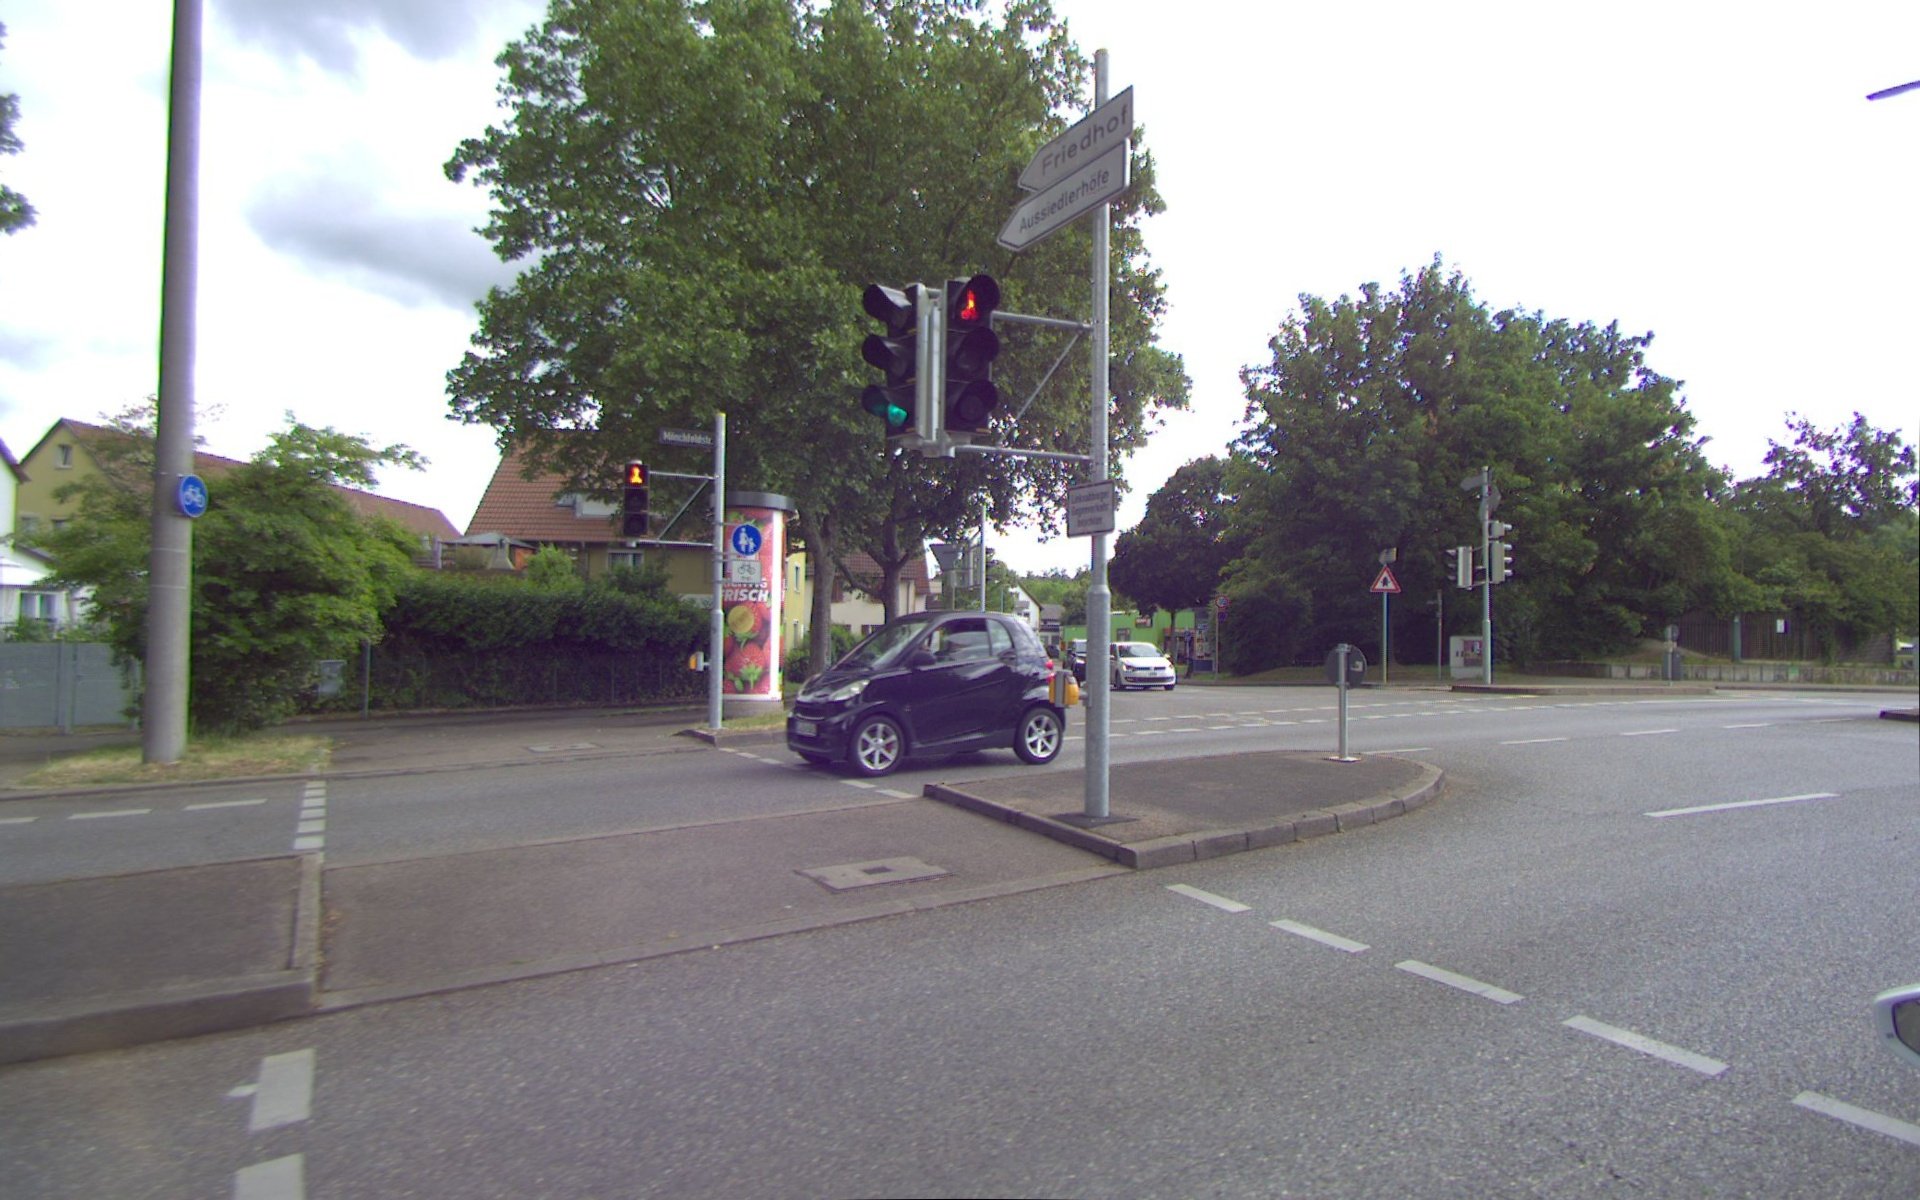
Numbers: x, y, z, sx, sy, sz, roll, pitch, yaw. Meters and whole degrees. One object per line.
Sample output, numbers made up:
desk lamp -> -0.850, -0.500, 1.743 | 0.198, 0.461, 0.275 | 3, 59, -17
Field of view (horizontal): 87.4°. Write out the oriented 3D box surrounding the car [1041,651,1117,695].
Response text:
car -> 4.469, 2.742, 38.354 | 1.963, 1.566, 4.267 | 0, -3, -6

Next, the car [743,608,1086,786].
car -> -0.442, 0.892, 10.232 | 3.152, 1.547, 1.561 | 1, -2, -31

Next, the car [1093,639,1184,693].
car -> 5.262, 1.925, 30.038 | 1.791, 1.499, 3.854 | 1, -2, -4

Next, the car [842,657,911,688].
car -> -4.605, 4.003, 55.806 | 3.660, 1.584, 1.764 | 1, -2, -1
